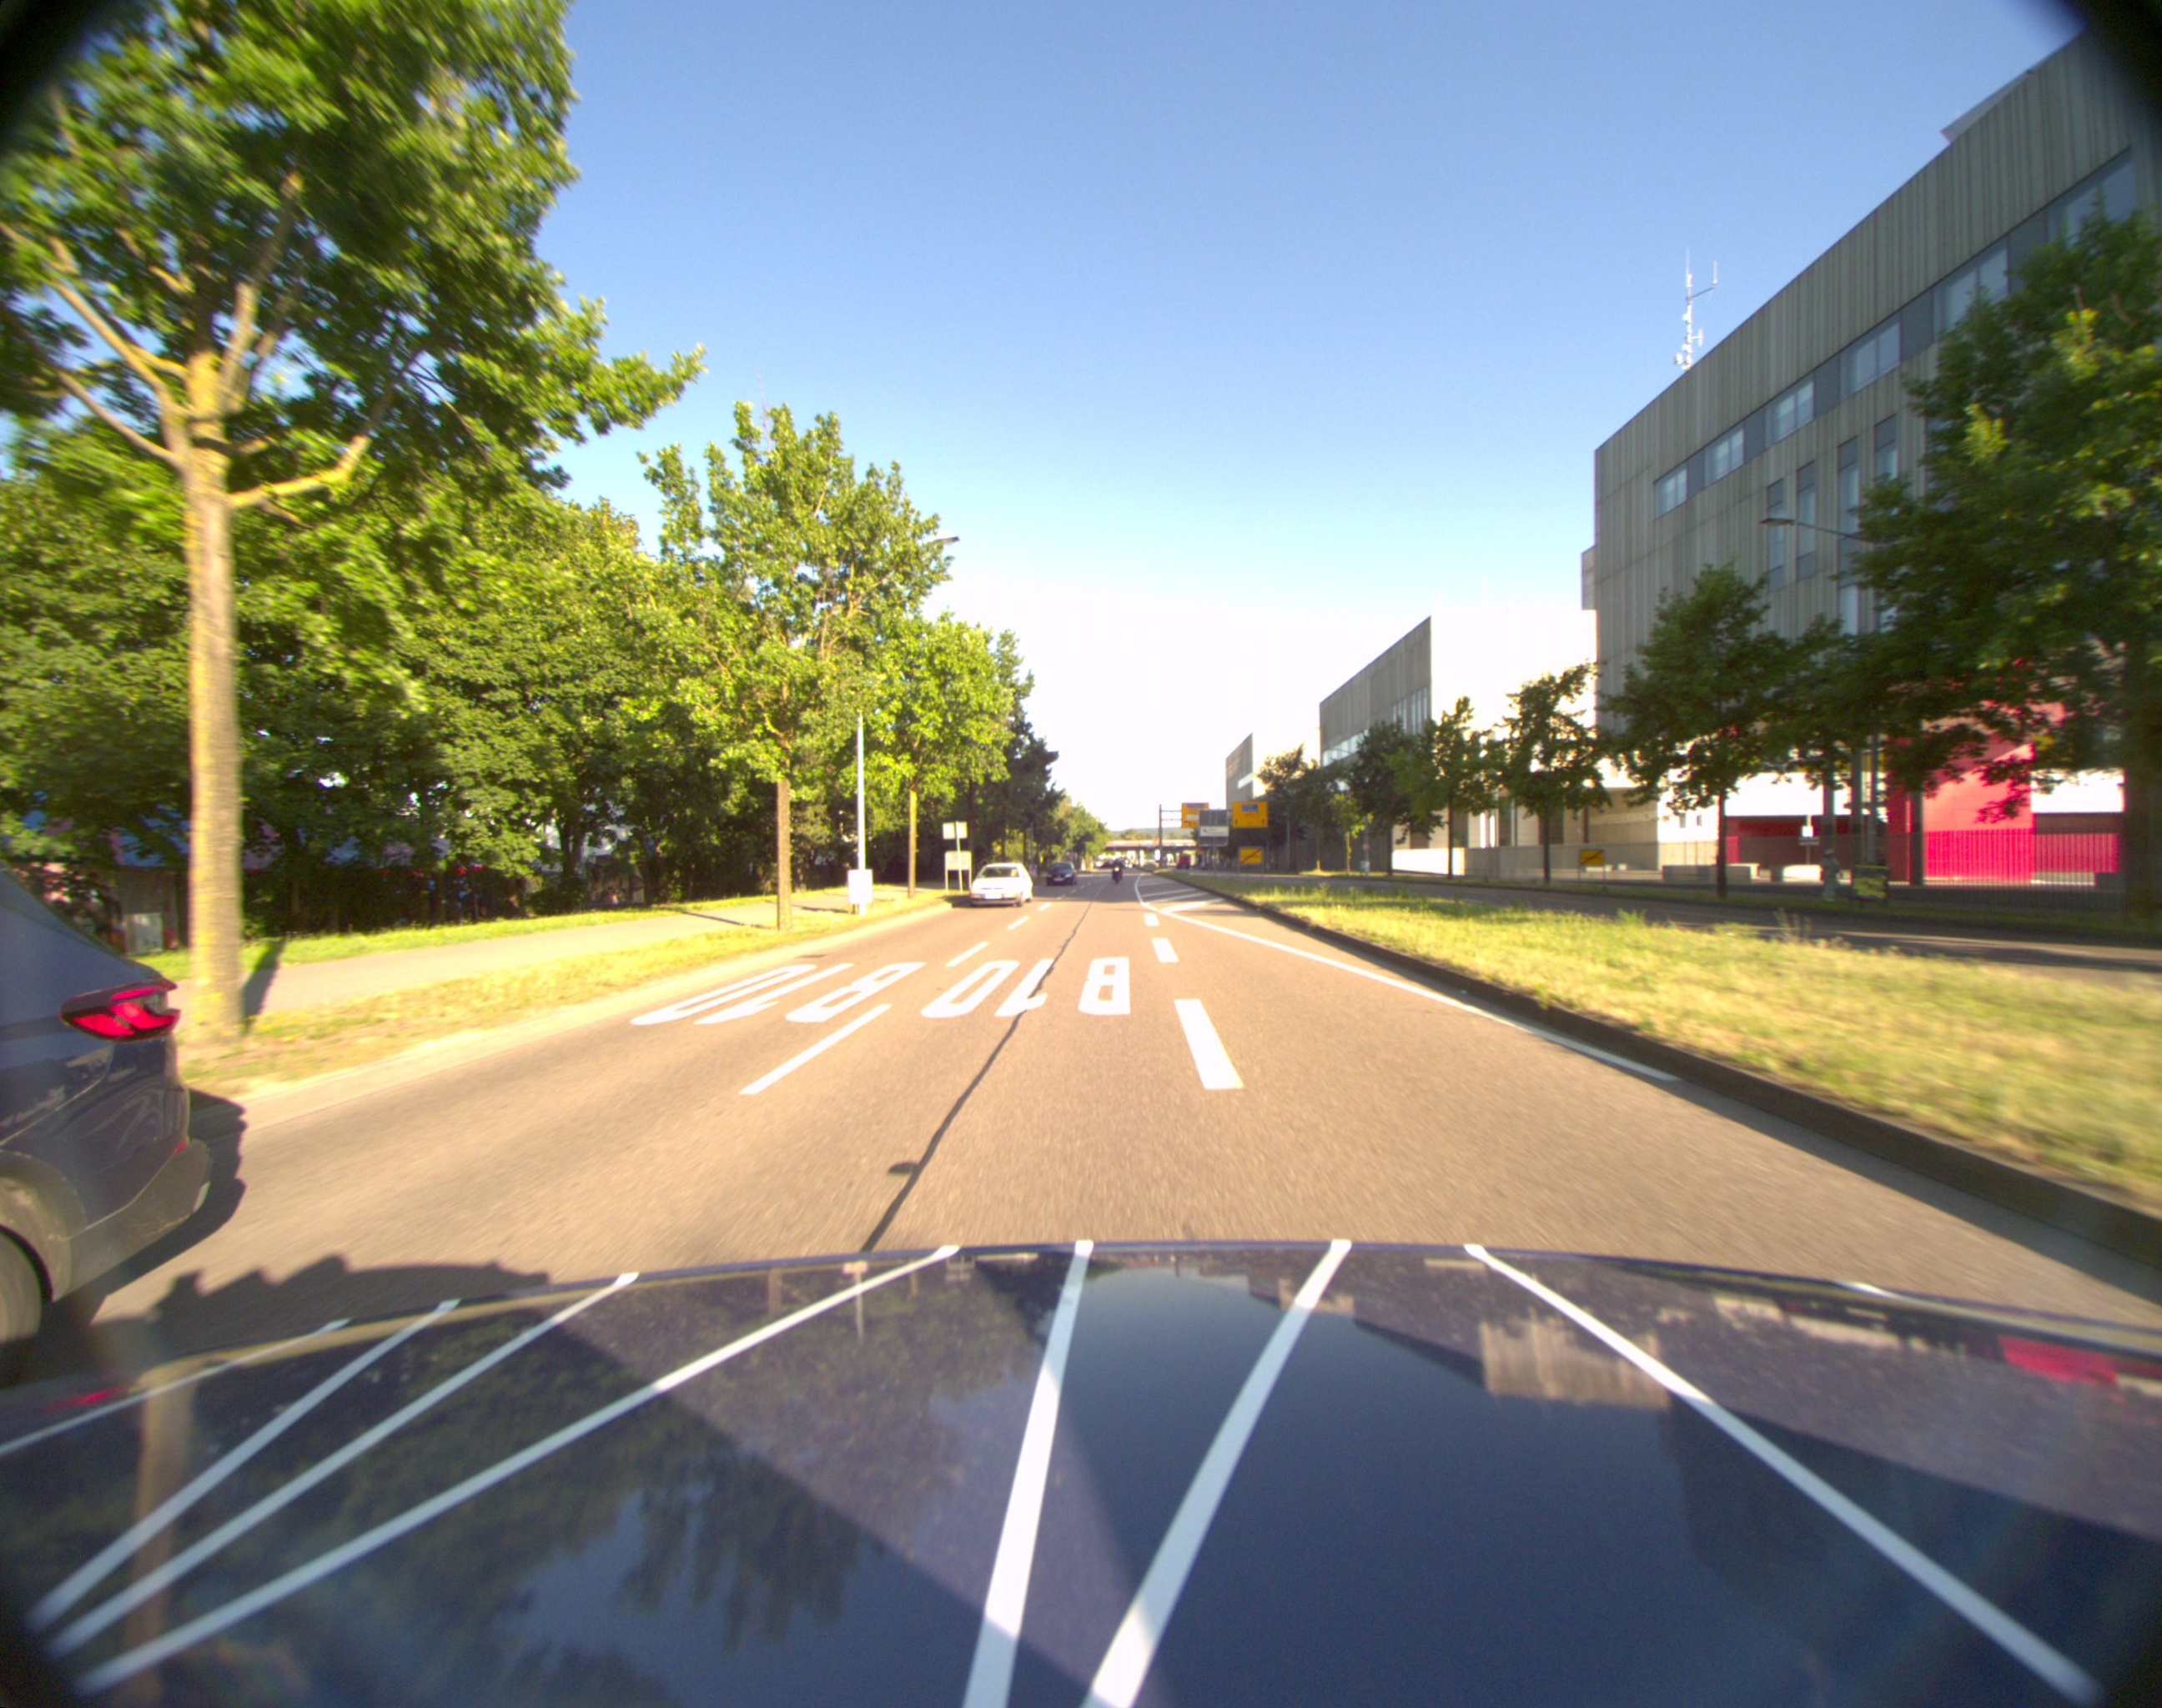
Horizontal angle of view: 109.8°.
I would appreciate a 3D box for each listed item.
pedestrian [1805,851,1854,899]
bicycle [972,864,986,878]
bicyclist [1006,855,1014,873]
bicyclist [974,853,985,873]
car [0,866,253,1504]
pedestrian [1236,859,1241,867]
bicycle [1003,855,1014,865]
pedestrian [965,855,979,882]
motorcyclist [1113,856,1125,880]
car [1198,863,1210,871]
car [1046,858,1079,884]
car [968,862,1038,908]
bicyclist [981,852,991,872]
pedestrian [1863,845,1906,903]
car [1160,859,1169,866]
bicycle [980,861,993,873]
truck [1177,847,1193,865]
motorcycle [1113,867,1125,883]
[{"bbox_3d":[25.012,0.688,25.403,0.778,1.592,0.909,-1,0,4],"label":"pedestrian"},{"bbox_3d":[-7.513,1.241,55.772,0.618,0.968,1.822,-1,0,5],"label":"bicycle"},{"bbox_3d":[-6.724,0.917,72.060,0.604,1.723,0.848,-1,0,5],"label":"bicyclist"},{"bbox_3d":[-7.501,0.652,55.981,0.614,1.493,0.848,-1,0,5],"label":"bicyclist"},{"bbox_3d":[-4.025,0.946,0.343,1.959,1.717,4.700,-2,0,3],"label":"car"},{"bbox_3d":[30.891,1.777,149.079,0.698,1.619,0.725,-1,0,3],"label":"pedestrian"},{"bbox_3d":[-6.795,0.579,71.342,0.618,0.968,2.059,-1,0,5],"label":"bicycle"},{"bbox_3d":[-6.277,0.836,43.785,0.672,1.564,0.910,1,0,-5],"label":"pedestrian"},{"bbox_3d":[2.387,0.858,47.618,0.734,1.503,0.919,0,0,2],"label":"motorcyclist"},{"bbox_3d":[23.585,2.501,145.591,1.600,1.503,3.867,-1,0,-2],"label":"car"},{"bbox_3d":[-1.098,1.028,46.896,1.725,1.490,4.215,-2,0,2],"label":"car"},{"bbox_3d":[-2.553,1.009,25.807,1.614,1.390,4.040,-1,-1,5],"label":"car"},{"bbox_3d":[-7.554,0.655,60.630,0.604,1.569,0.848,-1,0,5],"label":"bicyclist"},{"bbox_3d":[25.895,0.642,24.503,0.634,1.830,0.717,-1,0,4],"label":"pedestrian"},{"bbox_3d":[21.168,2.201,192.216,1.998,1.805,4.403,0,0,5],"label":"car"},{"bbox_3d":[-7.547,1.017,60.663,0.618,0.968,2.059,-1,0,5],"label":"bicycle"},{"bbox_3d":[22.800,0.434,167.022,3.004,3.789,10.093,-1,0,5],"label":"truck"},{"bbox_3d":[2.378,1.297,47.567,0.748,0.977,2.141,-1,0,2],"label":"motorcycle"}]
